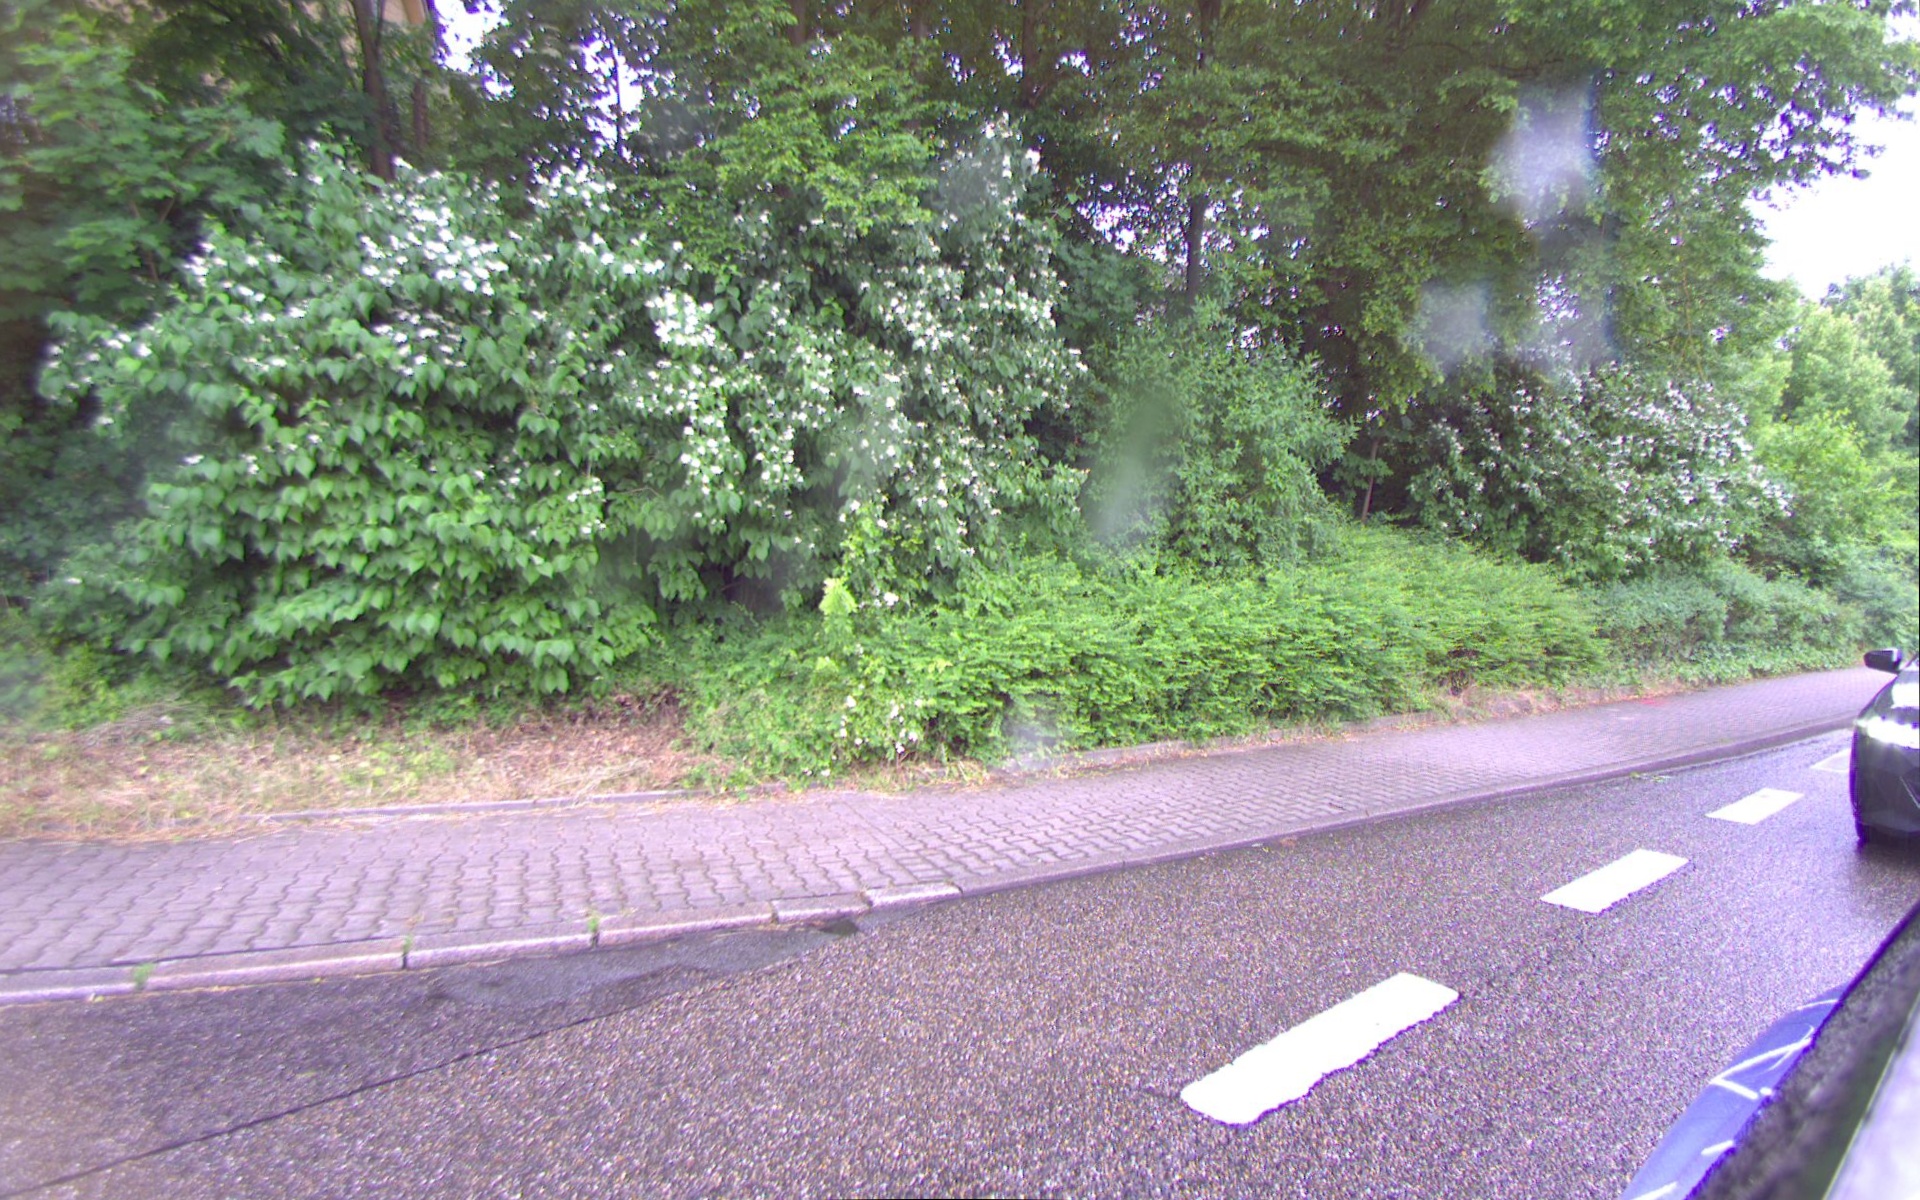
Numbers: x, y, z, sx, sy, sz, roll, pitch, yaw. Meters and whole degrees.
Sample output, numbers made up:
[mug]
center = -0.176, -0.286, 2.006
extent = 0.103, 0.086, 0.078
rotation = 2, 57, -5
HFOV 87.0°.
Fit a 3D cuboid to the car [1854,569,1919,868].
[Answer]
[car]
center = 7.059, 0.617, 6.155
extent = 4.048, 1.574, 1.867
rotation = -2, 3, -41
